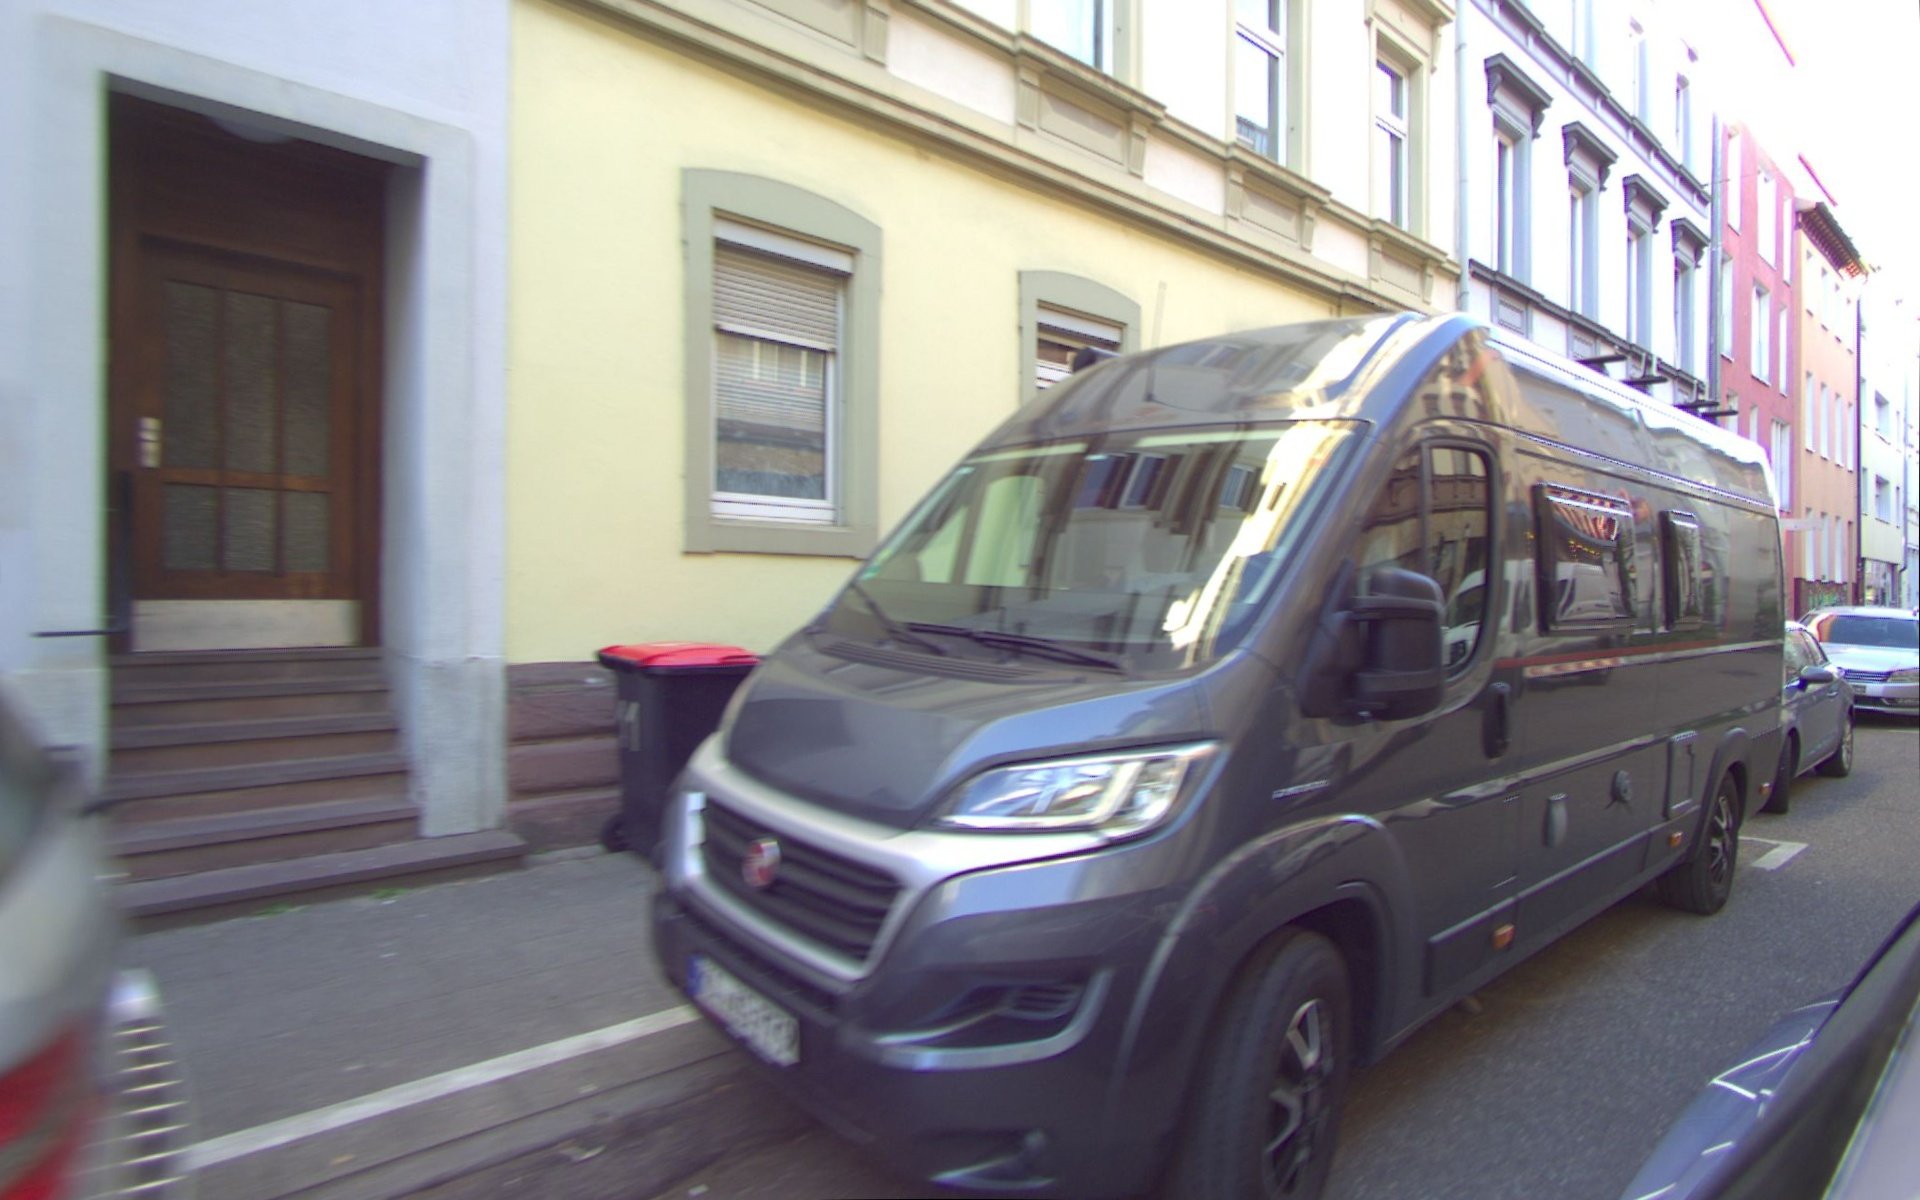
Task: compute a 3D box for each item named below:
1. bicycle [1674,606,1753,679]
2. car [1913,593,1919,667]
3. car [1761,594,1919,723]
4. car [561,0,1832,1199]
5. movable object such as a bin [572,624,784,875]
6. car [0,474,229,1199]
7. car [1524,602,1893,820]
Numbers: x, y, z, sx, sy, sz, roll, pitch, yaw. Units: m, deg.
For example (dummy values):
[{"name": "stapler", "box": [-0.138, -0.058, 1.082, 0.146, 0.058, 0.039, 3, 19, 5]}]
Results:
[{"name": "bicycle", "box": [12.954, 0.699, 17.381, 1.869, 1.110, 0.711, -1, 3, -43]}, {"name": "car", "box": [22.041, 0.668, 21.896, 3.388, 1.558, 1.606, 0, 3, -40]}, {"name": "car", "box": [12.860, 0.706, 14.143, 4.468, 1.472, 1.790, 0, 3, -41]}, {"name": "car", "box": [1.784, 0.159, 4.426, 6.199, 2.455, 2.179, 0, 2, -41]}, {"name": "movable object such as a bin", "box": [-1.436, 0.688, 5.110, 0.696, 1.055, 0.864, 0, 3, -42]}, {"name": "car", "box": [-2.965, 0.662, 0.331, 4.298, 1.628, 1.697, 0, 2, -41]}, {"name": "car", "box": [6.712, 0.762, 8.910, 4.098, 1.463, 1.750, 0, 0, -41]}]
